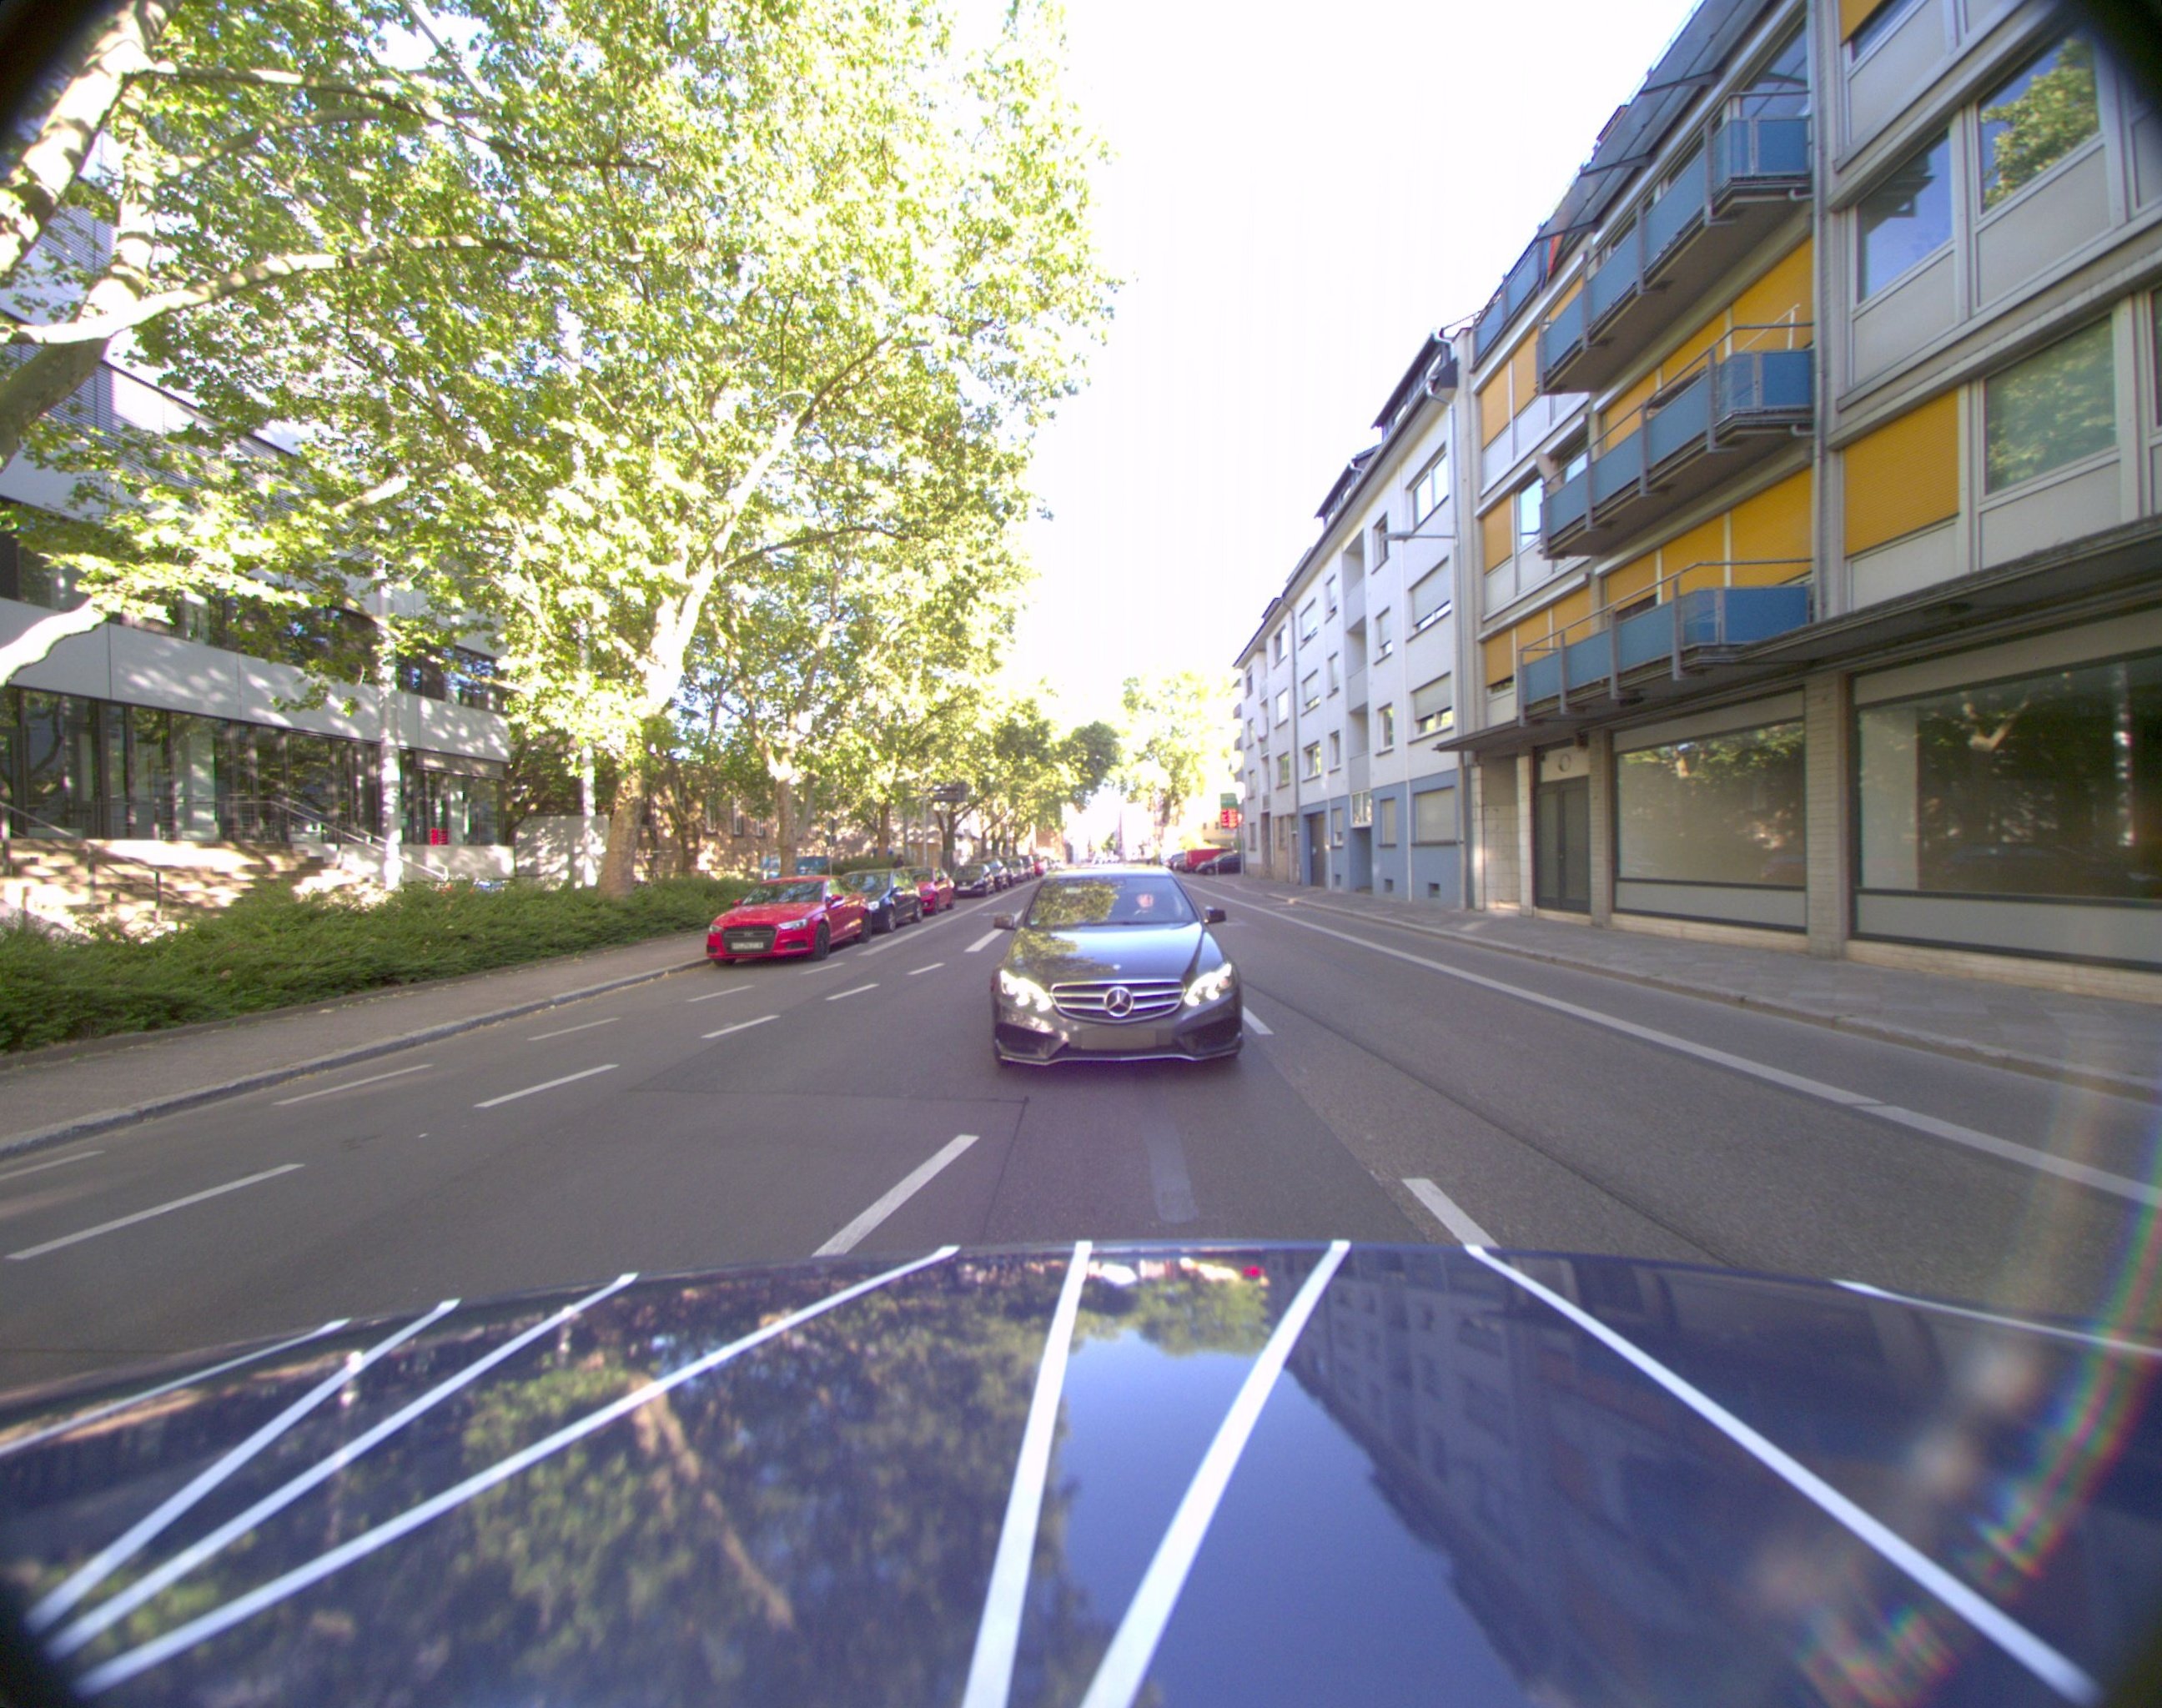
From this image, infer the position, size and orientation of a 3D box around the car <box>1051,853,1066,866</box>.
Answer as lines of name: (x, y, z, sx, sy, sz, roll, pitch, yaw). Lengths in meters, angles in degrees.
car: (-3.042, 0.687, 102.956, 1.835, 1.667, 4.259, -2, 0, 1)

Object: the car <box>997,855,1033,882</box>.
car: (-4.335, 0.950, 50.615, 1.835, 1.604, 4.259, -2, 0, 1)

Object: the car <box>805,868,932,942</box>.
car: (-5.039, 1.154, 18.637, 1.835, 1.438, 4.168, -2, 0, 1)

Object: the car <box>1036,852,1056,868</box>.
car: (-3.935, 0.671, 86.233, 1.835, 1.667, 4.259, -2, 0, 1)

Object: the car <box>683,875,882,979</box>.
car: (-5.128, 1.181, 13.777, 1.835, 1.396, 4.247, -2, 0, 1)

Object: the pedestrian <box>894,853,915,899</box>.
pedestrian: (-7.319, 0.894, 31.480, 0.660, 1.849, 0.641, -2, 1, 1)

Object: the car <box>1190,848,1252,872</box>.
car: (10.487, 0.457, 57.056, 4.255, 1.461, 1.653, -4, 0, 1)

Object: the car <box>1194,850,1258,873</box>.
car: (10.403, 0.520, 54.754, 4.255, 1.392, 1.653, -4, 0, 1)

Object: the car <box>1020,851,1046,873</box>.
car: (-4.142, 0.685, 66.354, 1.835, 1.839, 4.259, -2, 0, 1)

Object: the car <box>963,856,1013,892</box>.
car: (-4.594, 0.968, 38.081, 1.835, 1.596, 4.161, -2, 0, 1)

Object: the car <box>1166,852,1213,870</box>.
car: (10.436, 0.675, 73.198, 4.255, 1.461, 1.653, -4, 0, 1)

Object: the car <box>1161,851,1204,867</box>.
car: (10.778, 0.516, 80.621, 4.255, 1.461, 1.653, -4, 0, 1)

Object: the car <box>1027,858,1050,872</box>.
car: (-3.987, 1.029, 71.795, 1.835, 1.220, 4.259, -2, 0, 1)

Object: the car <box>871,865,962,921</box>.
car: (-5.040, 1.138, 23.847, 1.835, 1.459, 4.168, -2, 0, 1)

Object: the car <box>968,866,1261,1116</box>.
car: (0.246, 0.917, 7.036, 1.849, 1.490, 4.302, -1, 0, 1)

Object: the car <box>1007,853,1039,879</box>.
car: (-4.176, 0.815, 55.646, 1.835, 1.750, 4.259, -2, 0, 1)

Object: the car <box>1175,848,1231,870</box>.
car: (10.055, 0.410, 62.718, 4.255, 1.461, 1.653, -4, 0, 1)

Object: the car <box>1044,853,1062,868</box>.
car: (-3.407, 0.789, 92.849, 1.835, 1.667, 4.259, -2, 0, 1)

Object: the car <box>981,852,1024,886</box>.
car: (-4.507, 0.826, 44.121, 1.835, 1.787, 4.463, -2, 0, 1)

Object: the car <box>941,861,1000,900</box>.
car: (-4.743, 1.108, 33.184, 1.835, 1.459, 4.168, -2, 0, 1)

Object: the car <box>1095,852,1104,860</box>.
car: (3.555, 0.408, 149.521, 1.726, 1.530, 4.000, -1, 0, 1)

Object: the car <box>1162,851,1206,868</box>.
car: (10.607, 0.542, 78.657, 4.255, 1.461, 1.653, -4, 0, 1)

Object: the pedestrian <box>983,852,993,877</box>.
pedestrian: (-6.804, 0.743, 55.626, 0.601, 1.785, 0.593, -2, 1, 0)

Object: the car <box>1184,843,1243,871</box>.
car: (10.418, 0.224, 60.136, 4.255, 1.907, 1.818, -4, 0, 0)

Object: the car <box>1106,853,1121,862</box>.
car: (7.062, 0.798, 164.564, 1.995, 1.825, 4.142, -1, 0, 21)
